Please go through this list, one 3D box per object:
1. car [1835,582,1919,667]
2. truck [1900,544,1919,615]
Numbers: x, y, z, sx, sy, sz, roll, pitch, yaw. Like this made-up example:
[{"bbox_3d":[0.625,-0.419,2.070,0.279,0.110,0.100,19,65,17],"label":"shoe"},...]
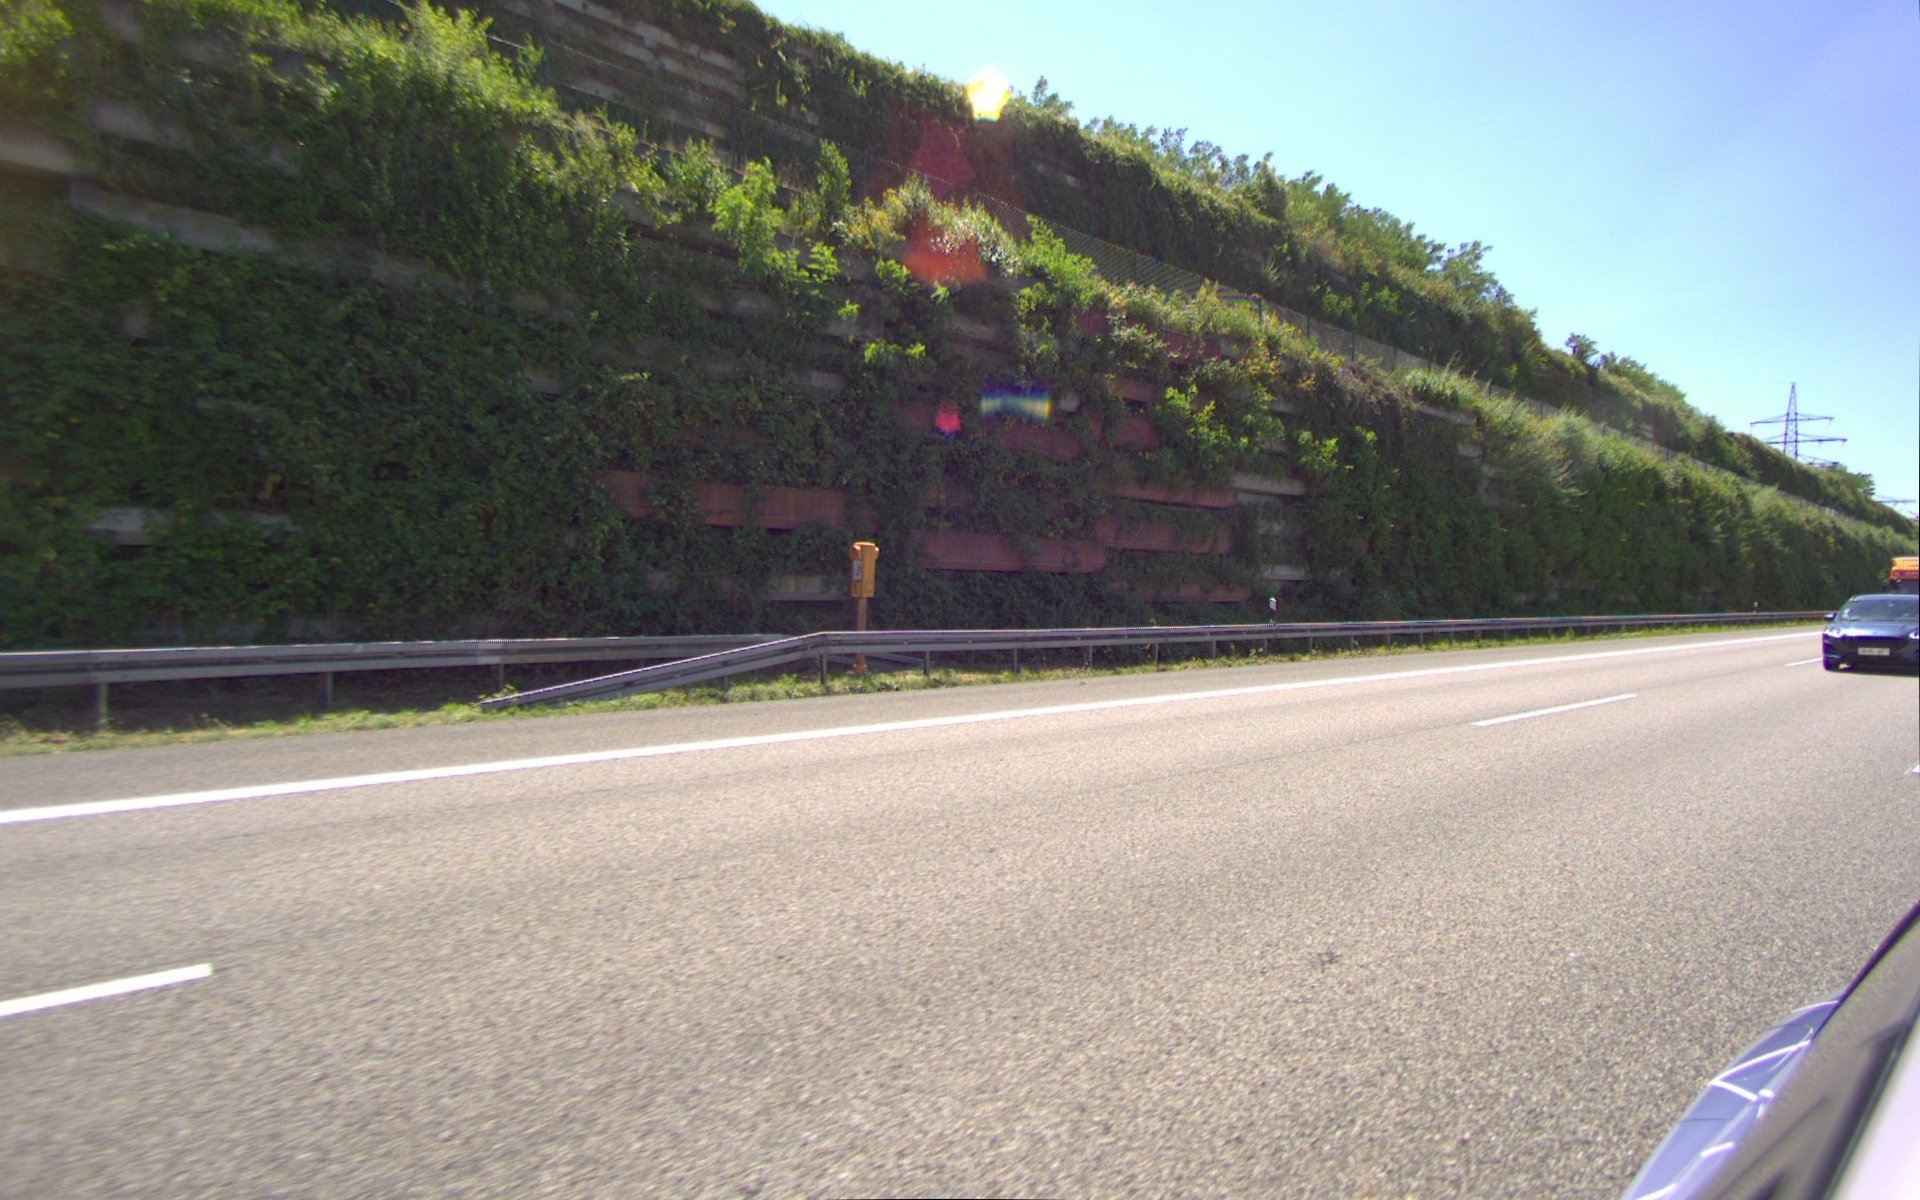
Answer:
[{"bbox_3d":[20.419,0.477,21.819,4.066,1.674,1.797,0,1,-41],"label":"car"},{"bbox_3d":[56.932,-1.153,58.905,6.413,4.042,2.622,0,1,-42],"label":"truck"}]
